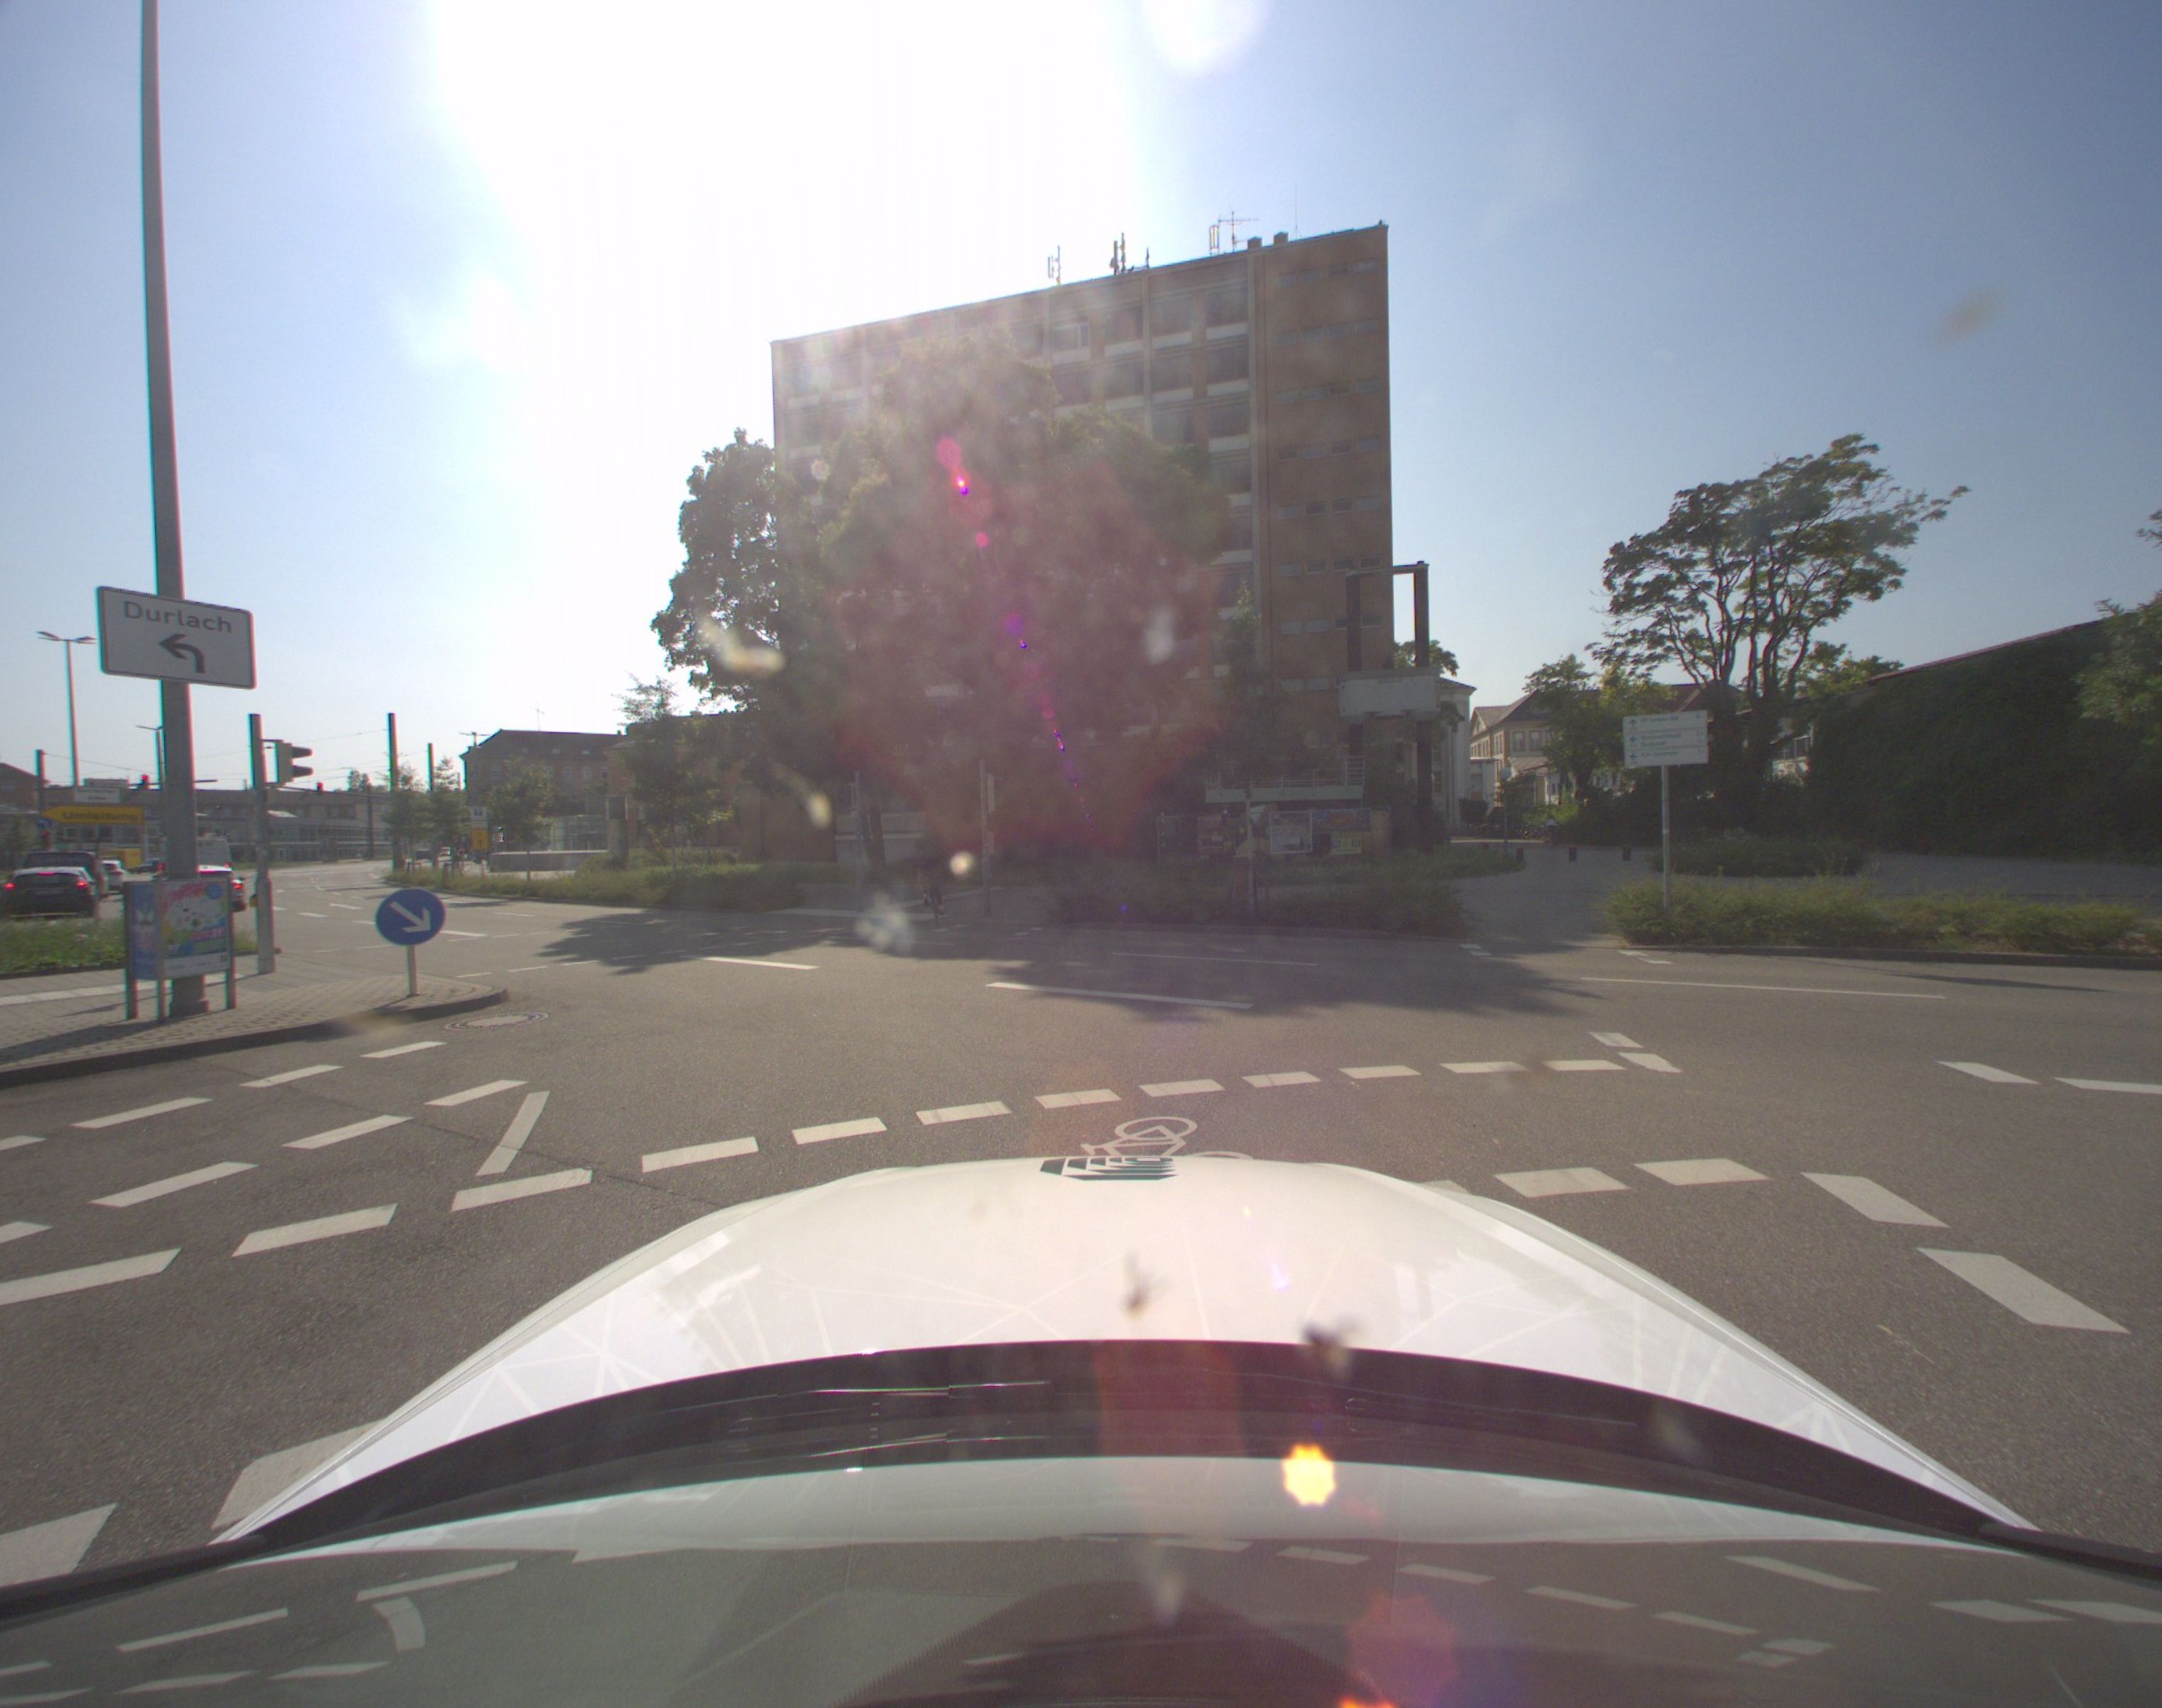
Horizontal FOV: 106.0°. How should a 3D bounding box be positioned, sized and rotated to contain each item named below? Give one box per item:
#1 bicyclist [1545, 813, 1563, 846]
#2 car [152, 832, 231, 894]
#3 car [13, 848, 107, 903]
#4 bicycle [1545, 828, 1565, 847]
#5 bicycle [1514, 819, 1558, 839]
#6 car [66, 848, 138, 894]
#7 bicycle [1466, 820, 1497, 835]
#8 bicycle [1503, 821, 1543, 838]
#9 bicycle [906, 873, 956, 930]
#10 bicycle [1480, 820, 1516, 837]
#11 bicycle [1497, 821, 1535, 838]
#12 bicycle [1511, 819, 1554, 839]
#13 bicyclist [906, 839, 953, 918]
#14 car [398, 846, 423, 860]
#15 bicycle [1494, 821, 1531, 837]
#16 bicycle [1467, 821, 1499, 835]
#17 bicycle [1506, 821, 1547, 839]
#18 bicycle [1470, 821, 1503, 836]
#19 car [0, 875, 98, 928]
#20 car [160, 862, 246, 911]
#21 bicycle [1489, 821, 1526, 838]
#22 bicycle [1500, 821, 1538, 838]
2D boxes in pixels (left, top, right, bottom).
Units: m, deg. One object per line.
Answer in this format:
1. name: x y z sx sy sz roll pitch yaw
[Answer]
1. bicyclist: 23.270 -1.200 40.097 0.644 1.601 0.925 -1 1 24
2. car: -39.415 0.404 36.131 4.624 2.549 2.209 -1 0 43
3. car: -40.640 0.807 32.522 4.624 2.007 2.043 -1 1 42
4. bicycle: 23.255 -0.803 40.006 0.667 0.879 1.409 -2 1 23
5. bicycle: 29.805 -1.637 53.344 2.407 1.318 0.724 1 2 20
6. car: -45.982 0.764 38.328 4.623 2.007 2.043 -1 1 41
7. bicycle: 35.399 -2.332 71.994 2.407 1.280 0.724 1 2 20
8. bicycle: 31.489 -1.760 58.029 2.407 1.223 0.724 1 2 20
9. bicycle: -3.263 0.982 17.585 0.774 0.975 2.138 -4 3 -17
10. bicycle: 32.996 -2.013 64.445 2.407 1.281 0.724 1 2 20
11. bicycle: 32.413 -1.852 60.677 2.407 1.239 0.724 1 2 20
12. bicycle: 30.180 -1.670 54.423 2.407 1.318 0.724 1 2 20
13. bicyclist: -3.245 0.500 17.390 0.774 1.578 0.985 -4 3 -17
14. car: -103.168 -0.200 125.356 2.430 2.013 4.727 -2 2 -35
15. bicycle: 32.685 -1.903 61.701 2.407 1.228 0.724 1 2 20
16. bicycle: 35.078 -2.264 71.137 2.407 1.262 0.724 1 2 20
17. bicycle: 31.072 -1.697 56.819 2.407 1.223 0.724 1 2 20
18. bicycle: 34.177 -2.136 68.642 2.407 1.281 0.724 1 2 20
19. car: -30.496 1.337 24.028 3.912 1.368 1.718 -1 1 37
20. car: -27.982 0.999 25.921 3.587 1.387 1.701 -1 0 41
21. bicycle: 33.108 -1.932 63.232 2.407 1.281 0.724 1 2 20
22. bicycle: 32.142 -1.817 59.781 2.407 1.234 0.724 1 2 20
